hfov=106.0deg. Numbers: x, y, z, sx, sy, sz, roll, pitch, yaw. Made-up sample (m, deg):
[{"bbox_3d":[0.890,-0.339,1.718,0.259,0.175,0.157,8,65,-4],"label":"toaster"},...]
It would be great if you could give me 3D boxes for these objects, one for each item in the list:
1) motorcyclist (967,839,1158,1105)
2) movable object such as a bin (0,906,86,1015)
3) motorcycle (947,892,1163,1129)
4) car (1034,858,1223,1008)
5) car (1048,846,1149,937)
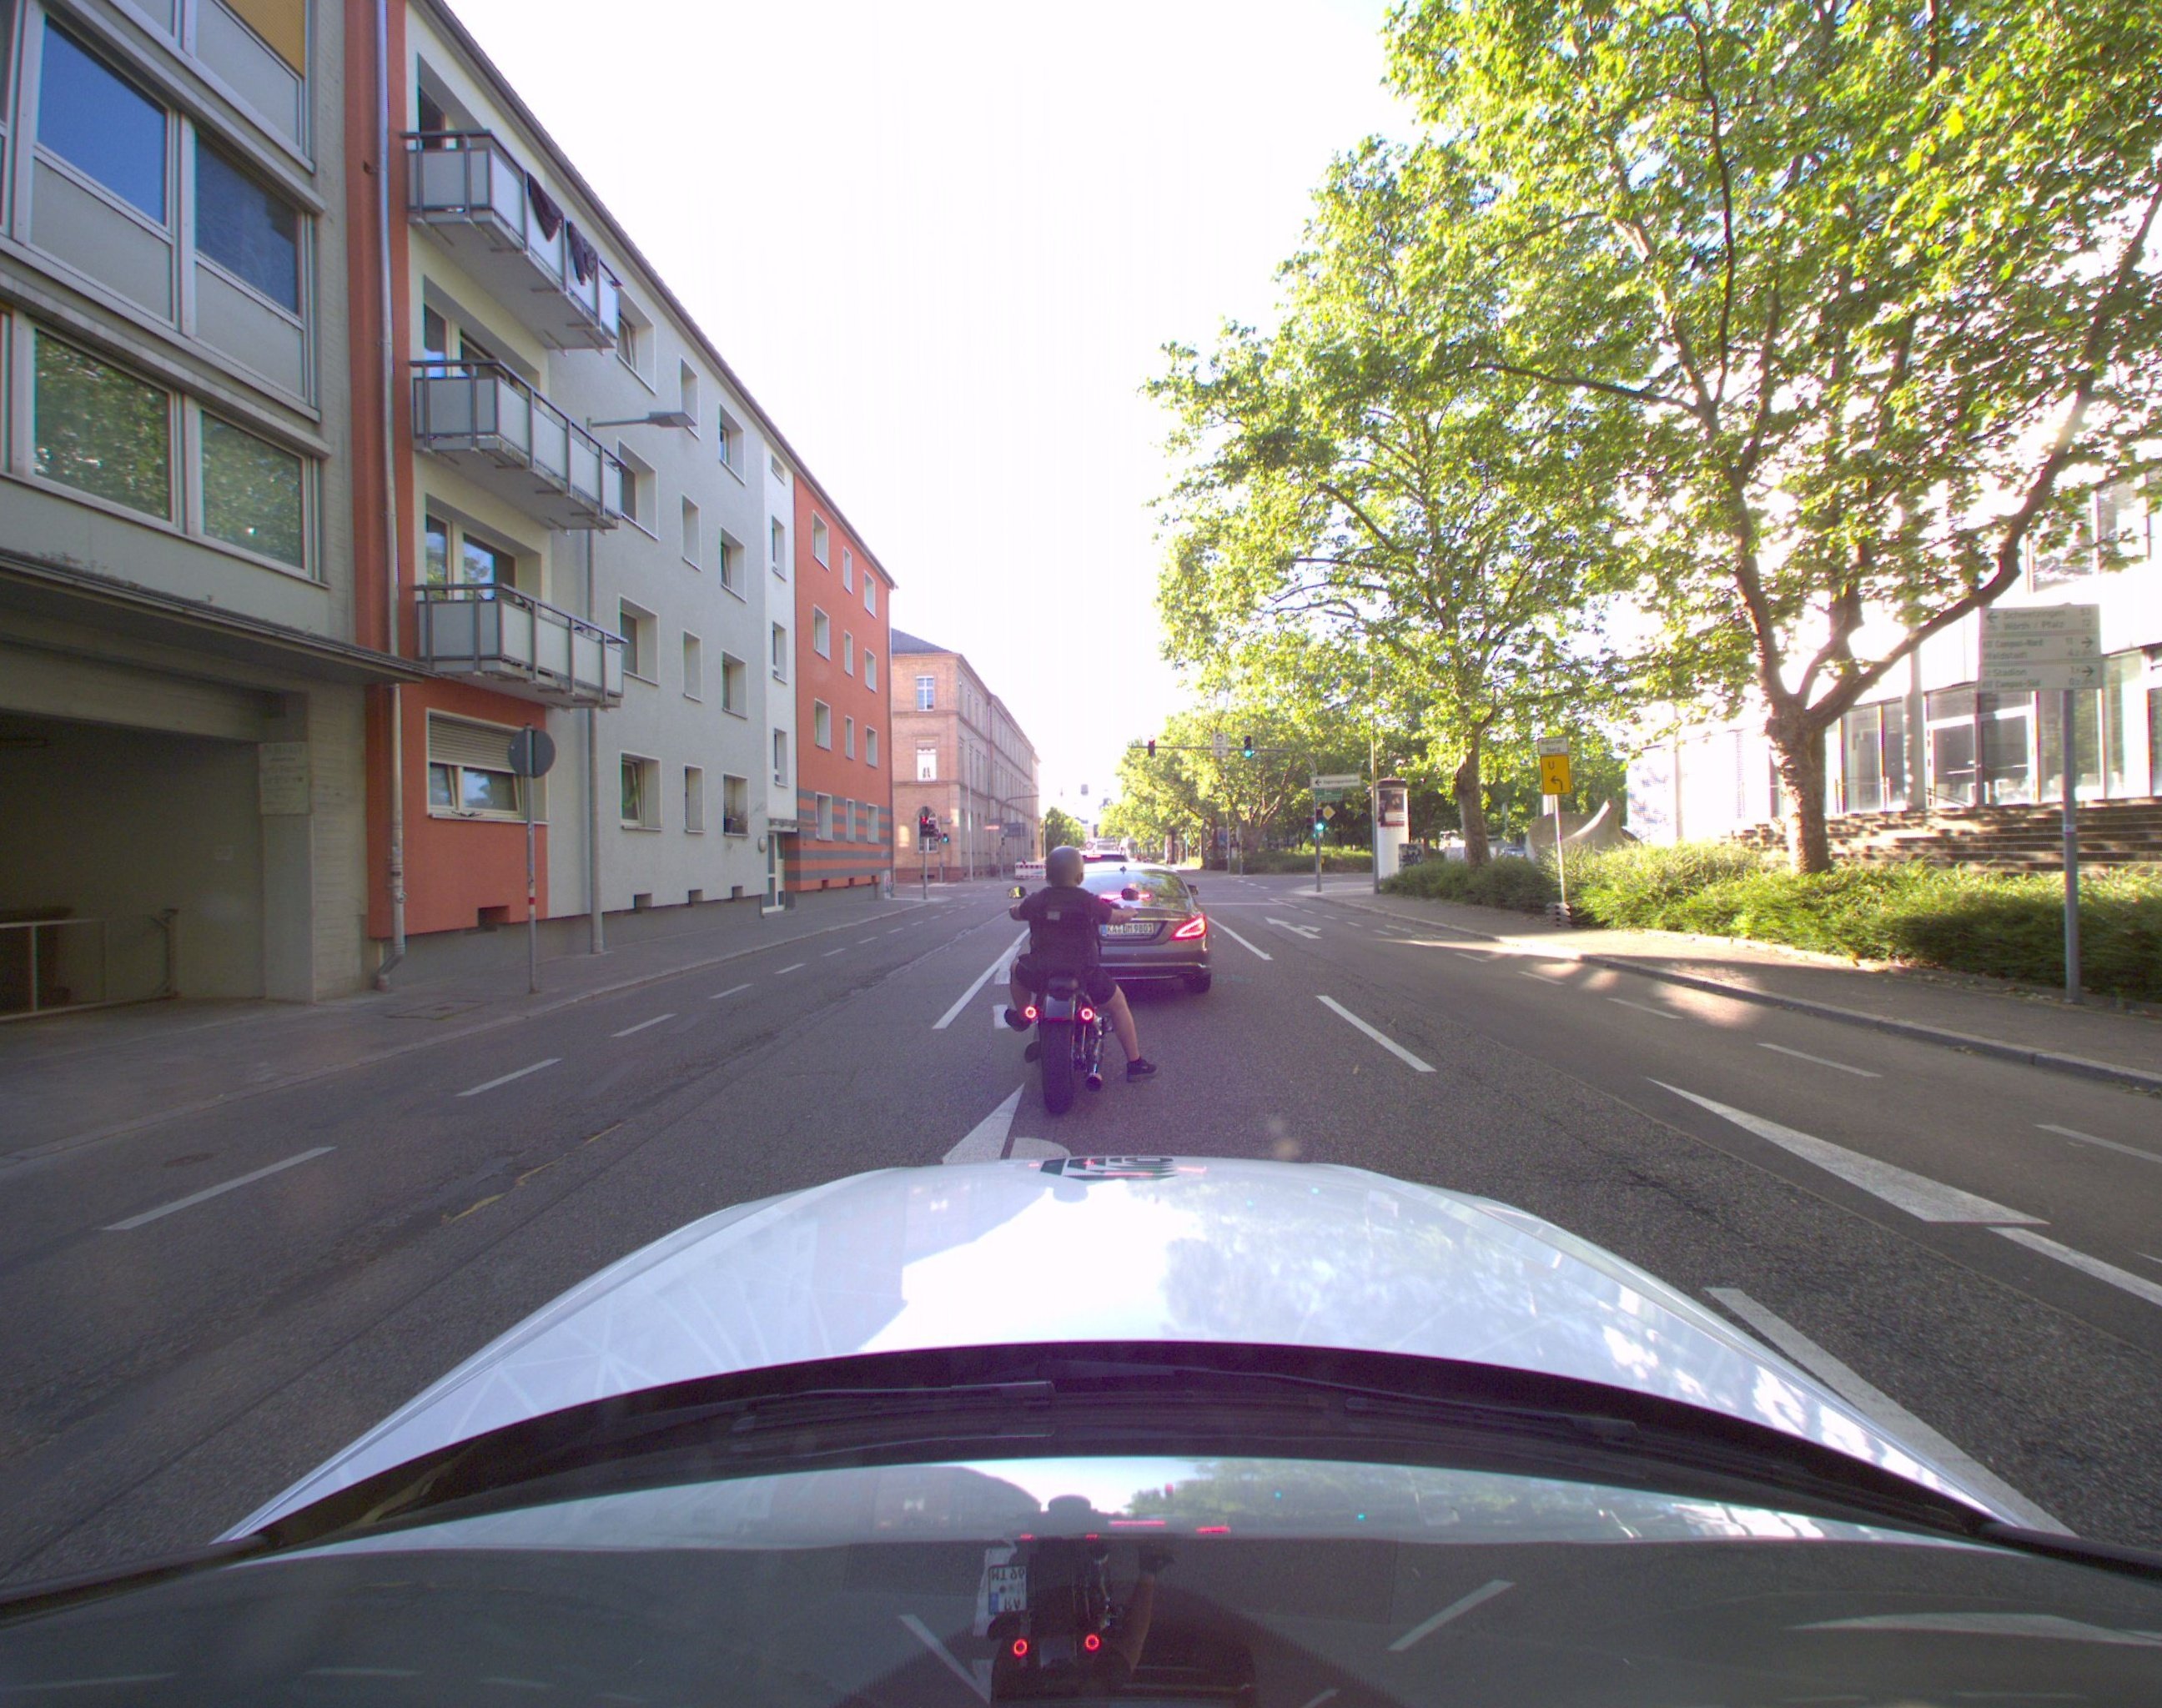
[{"bbox_3d":[-0.072,0.702,5.408,1.093,1.566,1.074,0,-1,8],"label":"motorcyclist"},{"bbox_3d":[-11.286,1.113,8.651,0.533,1.079,0.723,0,-1,3],"label":"movable object such as a bin"},{"bbox_3d":[-0.044,0.910,5.626,1.111,1.207,2.217,0,-1,8],"label":"motorcycle"},{"bbox_3d":[0.518,0.777,9.783,1.815,1.437,3.807,0,-1,2],"label":"car"},{"bbox_3d":[0.379,0.709,17.072,1.856,1.678,4.001,0,-1,2],"label":"car"}]
